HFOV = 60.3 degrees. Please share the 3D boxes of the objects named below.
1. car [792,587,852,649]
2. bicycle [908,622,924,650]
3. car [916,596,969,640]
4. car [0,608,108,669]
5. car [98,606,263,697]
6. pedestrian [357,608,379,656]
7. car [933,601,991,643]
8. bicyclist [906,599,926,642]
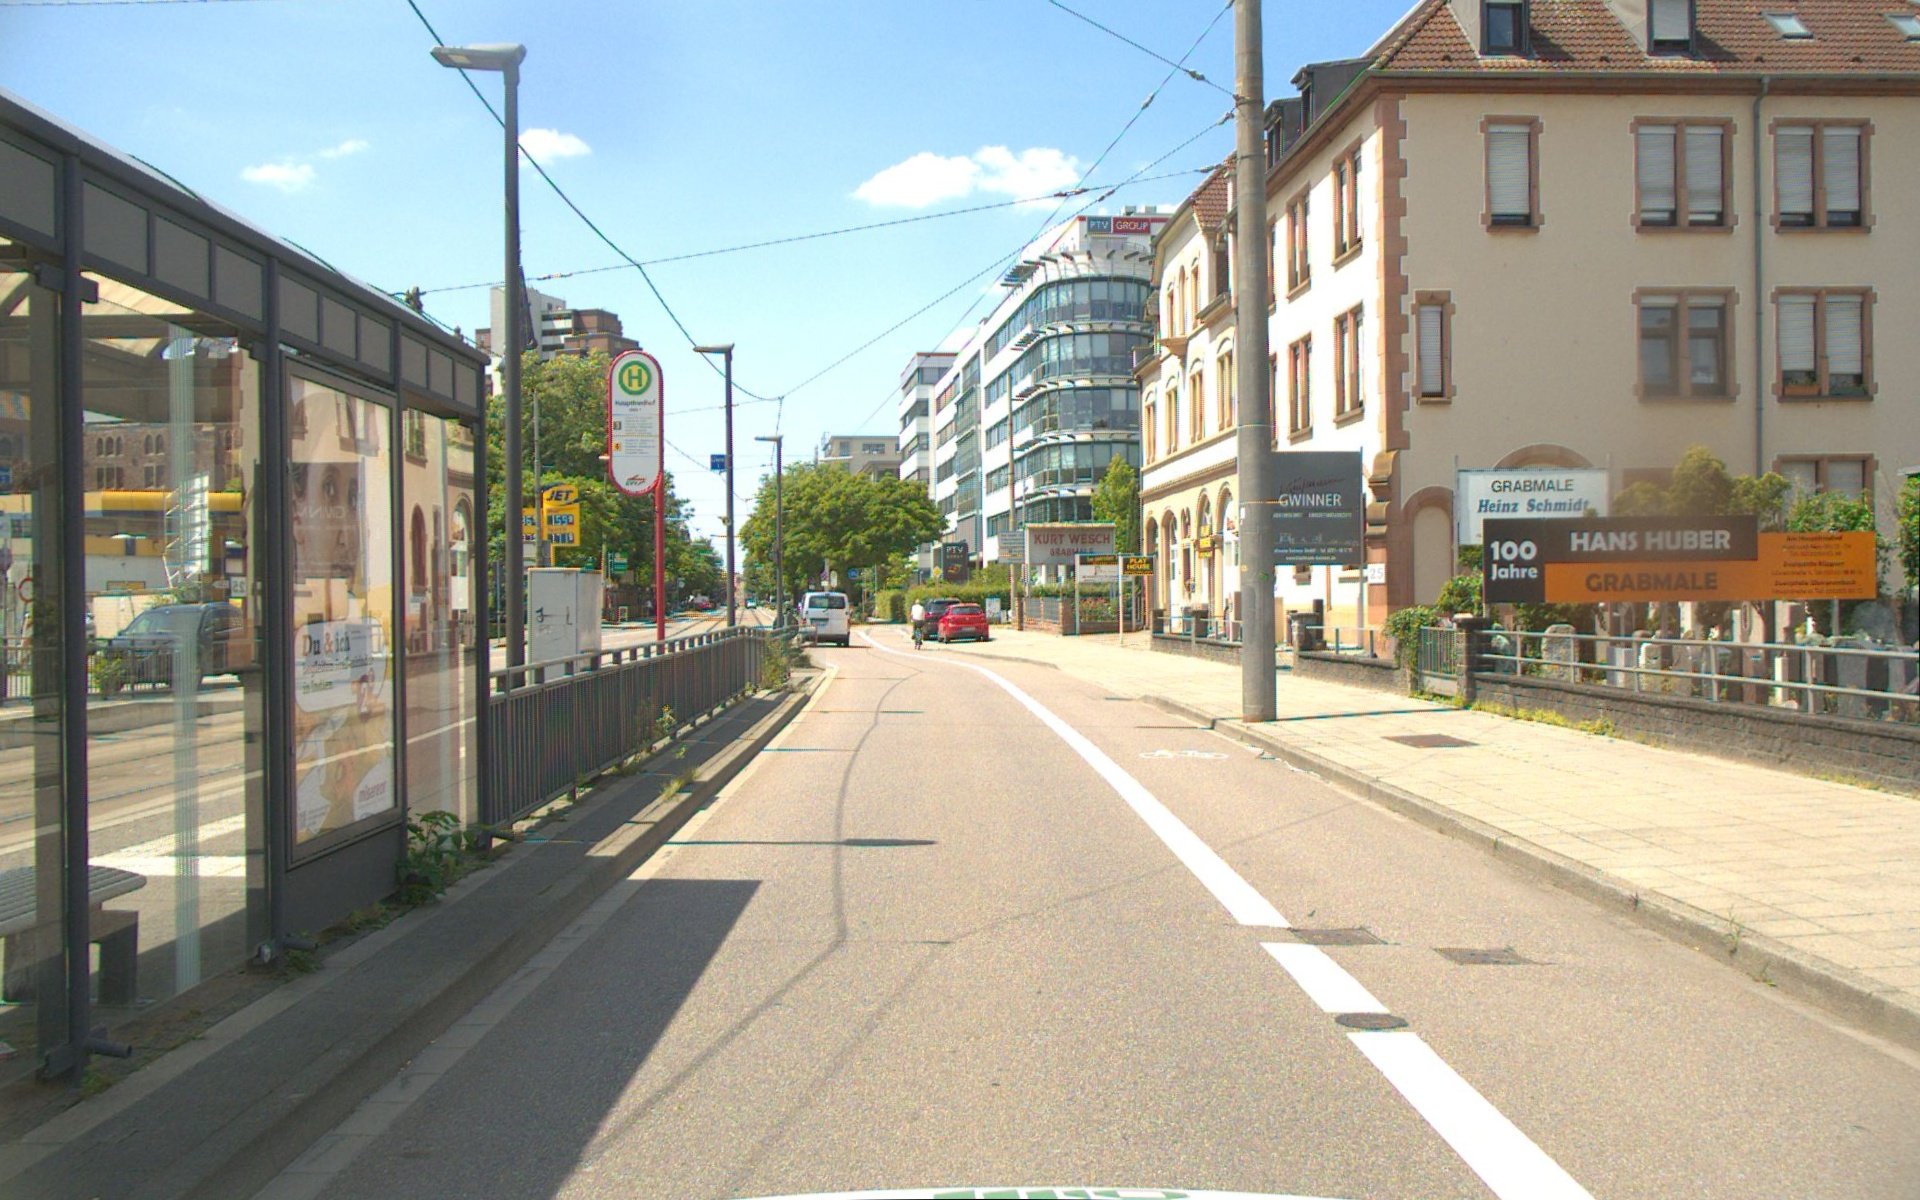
[{"bbox_3d":[-4.879,0.590,58.069,1.720,2.048,3.991,-2,1,-10],"label":"car"},{"bbox_3d":[-1.472,1.200,55.638,0.456,0.903,2.046,-1,0,-4],"label":"bicycle"},{"bbox_3d":[-0.785,0.723,69.760,1.827,1.716,4.995,-2,0,-5],"label":"car"},{"bbox_3d":[-28.029,1.213,51.094,2.041,1.594,3.938,-3,-1,-42],"label":"car"},{"bbox_3d":[-15.391,0.968,32.872,1.665,1.644,3.755,-1,0,-4],"label":"car"},{"bbox_3d":[-21.009,1.133,58.689,0.541,1.687,0.672,-1,0,0],"label":"pedestrian"},{"bbox_3d":[0.043,0.810,63.898,1.680,1.478,4.066,-3,1,-7],"label":"car"},{"bbox_3d":[-1.476,0.669,55.599,0.580,1.421,0.840,-1,0,-7],"label":"bicyclist"}]
